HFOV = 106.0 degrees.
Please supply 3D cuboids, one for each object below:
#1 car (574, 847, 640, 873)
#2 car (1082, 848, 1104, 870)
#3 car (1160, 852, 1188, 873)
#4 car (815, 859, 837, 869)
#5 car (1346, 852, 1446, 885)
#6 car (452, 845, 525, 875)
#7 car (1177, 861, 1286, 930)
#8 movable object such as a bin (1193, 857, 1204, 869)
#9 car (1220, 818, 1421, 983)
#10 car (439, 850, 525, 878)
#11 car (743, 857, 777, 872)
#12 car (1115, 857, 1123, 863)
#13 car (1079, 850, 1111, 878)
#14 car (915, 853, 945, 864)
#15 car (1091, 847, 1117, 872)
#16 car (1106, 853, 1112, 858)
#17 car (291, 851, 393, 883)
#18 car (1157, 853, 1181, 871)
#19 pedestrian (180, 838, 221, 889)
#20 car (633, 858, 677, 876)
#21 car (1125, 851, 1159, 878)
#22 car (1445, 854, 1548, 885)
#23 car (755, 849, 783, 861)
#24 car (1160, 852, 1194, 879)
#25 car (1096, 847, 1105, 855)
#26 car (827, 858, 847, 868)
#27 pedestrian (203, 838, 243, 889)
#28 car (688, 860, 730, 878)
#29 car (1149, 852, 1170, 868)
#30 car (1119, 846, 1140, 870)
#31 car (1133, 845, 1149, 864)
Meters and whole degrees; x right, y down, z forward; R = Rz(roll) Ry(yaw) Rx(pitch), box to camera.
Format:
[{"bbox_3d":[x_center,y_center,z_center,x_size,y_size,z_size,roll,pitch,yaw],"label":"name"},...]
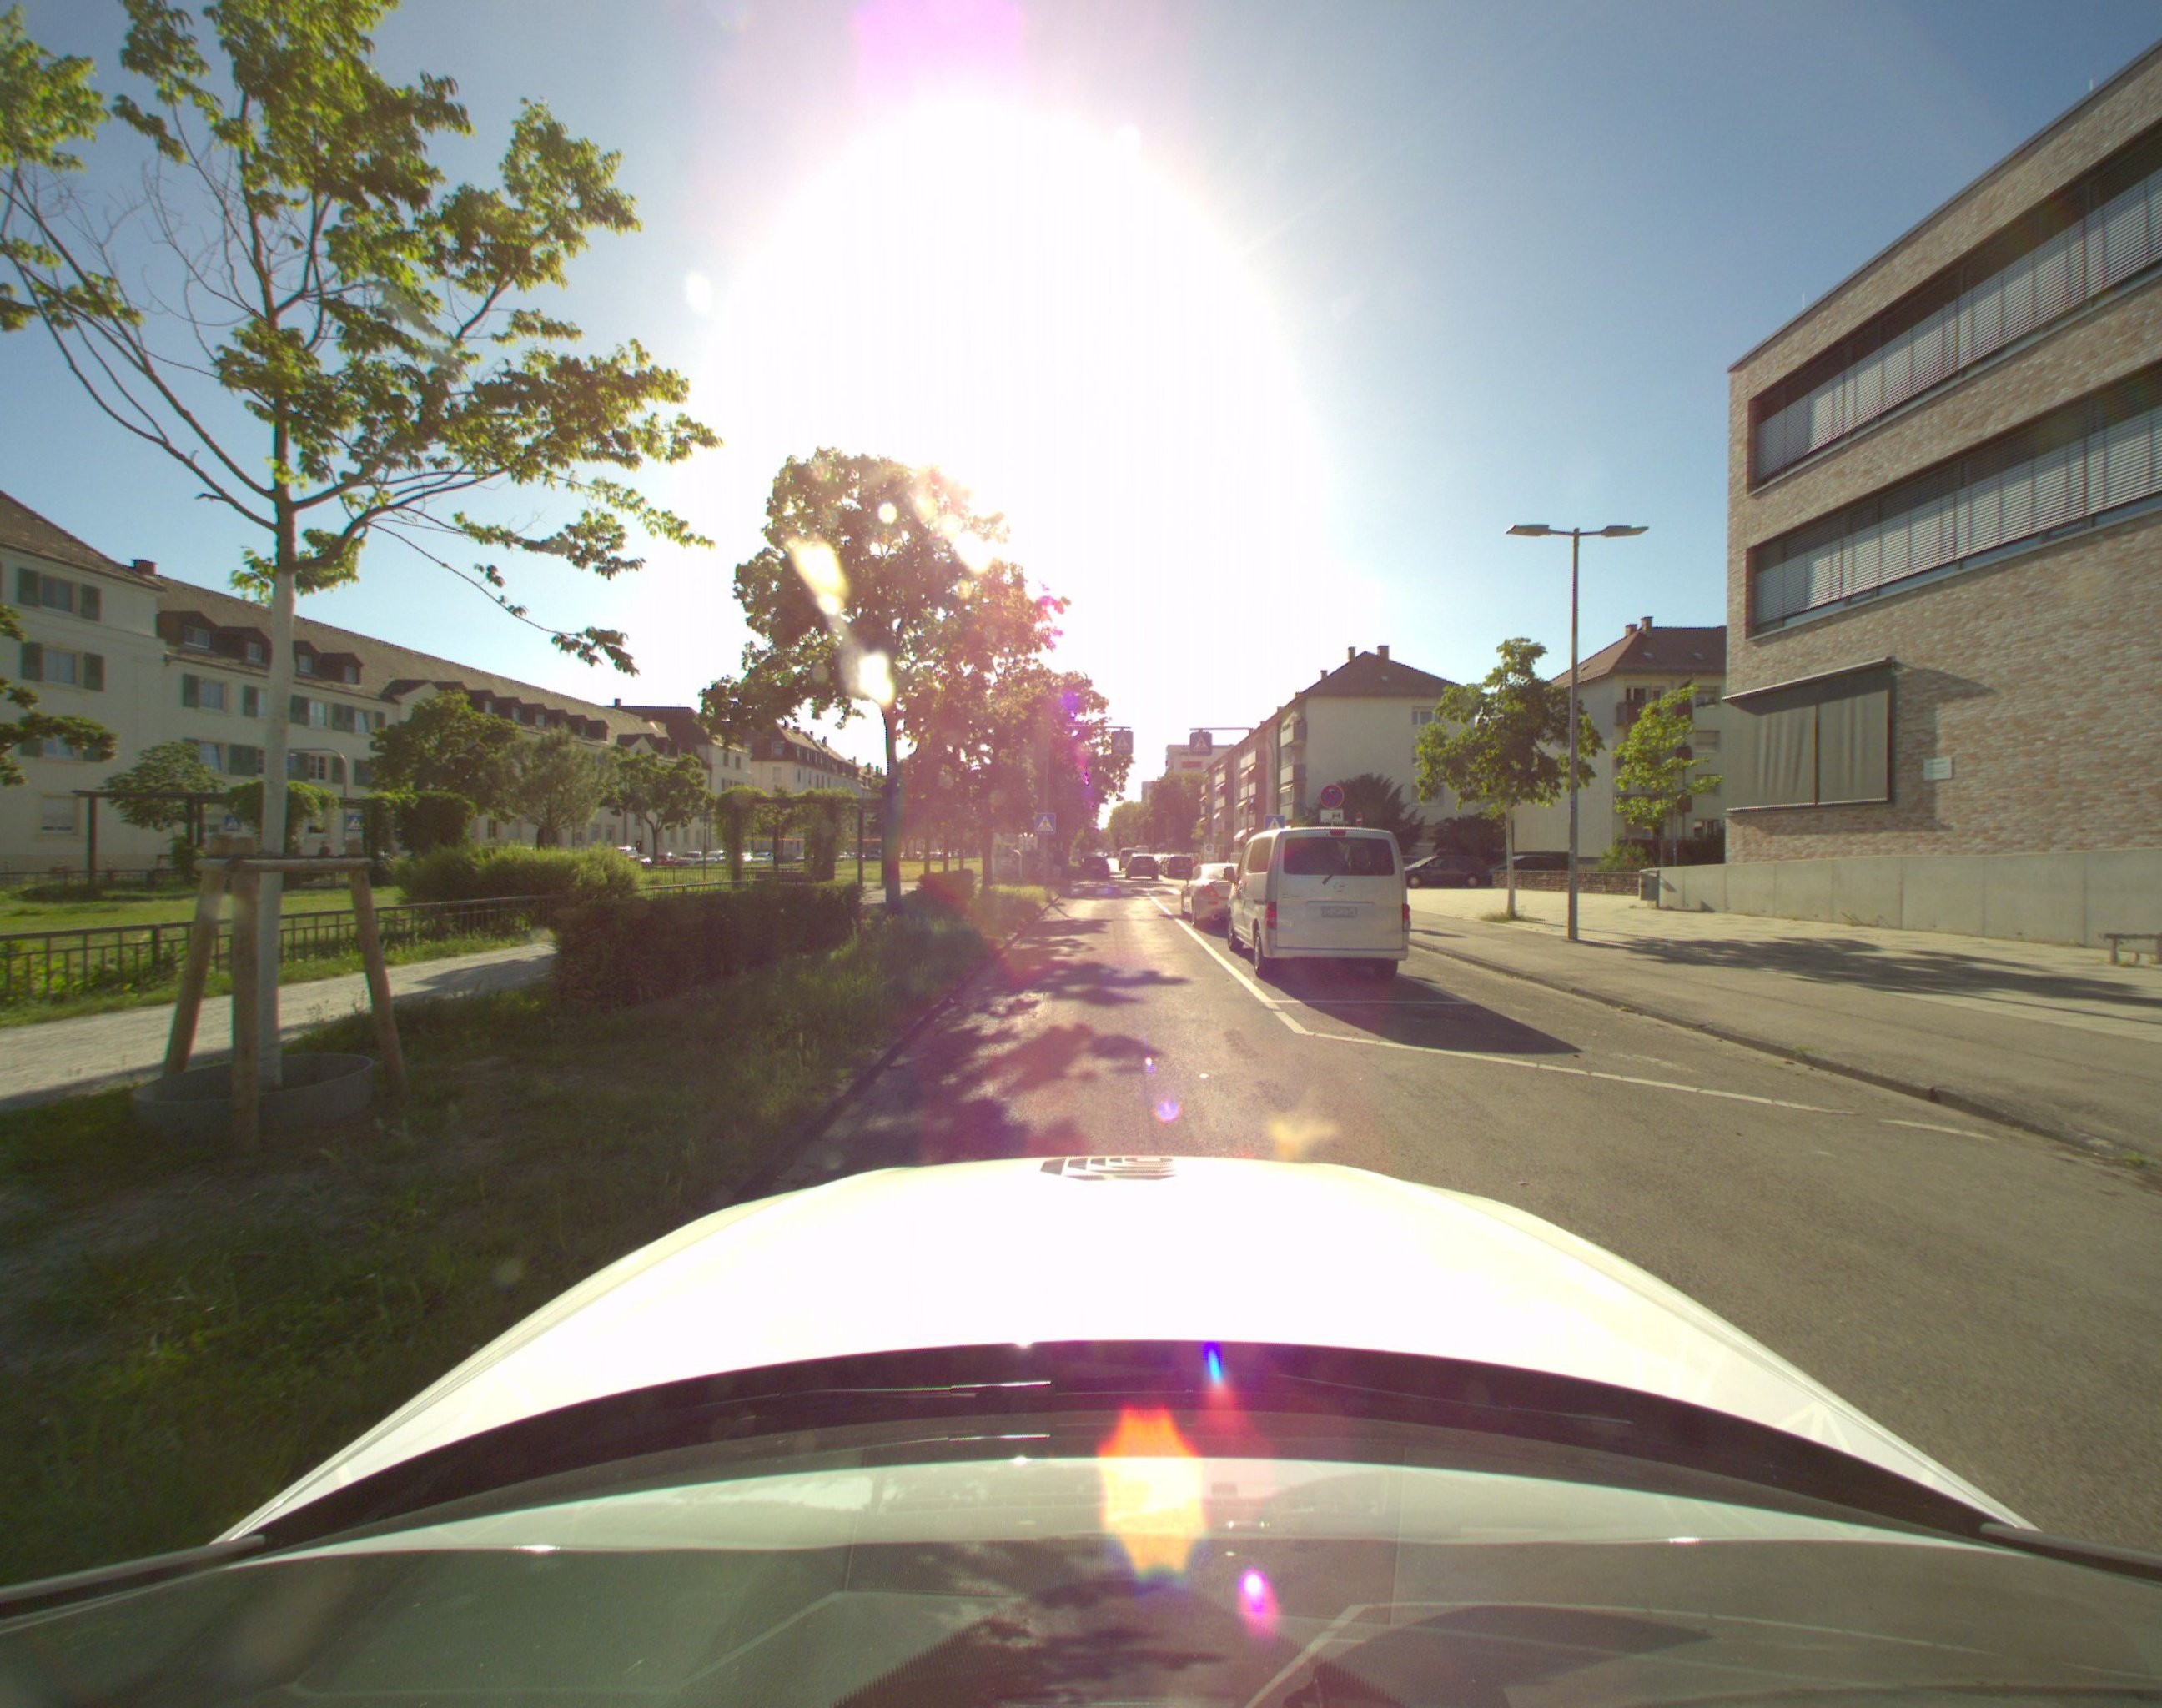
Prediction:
[{"bbox_3d":[-33.557,0.398,57.761,1.787,1.710,4.705,0,0,2],"label":"car"},{"bbox_3d":[1.177,0.498,78.212,1.986,2.013,4.002,-1,0,2],"label":"car"},{"bbox_3d":[7.130,0.631,62.717,1.787,1.510,4.002,0,0,2],"label":"car"},{"bbox_3d":[-38.056,1.460,121.683,1.787,1.510,4.146,0,0,2],"label":"car"},{"bbox_3d":[16.162,0.756,41.864,4.467,1.622,1.799,0,-2,-1],"label":"car"},{"bbox_3d":[-38.988,0.389,53.726,1.787,1.909,4.002,0,0,2],"label":"car"},{"bbox_3d":[3.176,0.829,17.931,1.758,1.319,4.170,1,-1,2],"label":"car"},{"bbox_3d":[14.390,1.080,99.566,1.087,1.510,2.003,0,0,2],"label":"movable object such as a bin"},{"bbox_3d":[3.109,0.532,11.511,1.786,1.855,4.417,1,0,4],"label":"car"},{"bbox_3d":[-33.732,0.553,46.014,1.787,1.510,4.002,0,0,2],"label":"car"},{"bbox_3d":[-32.980,1.066,83.697,1.787,1.510,4.002,0,0,2],"label":"car"},{"bbox_3d":[9.249,1.430,196.805,1.787,1.510,4.002,-1,0,2],"label":"car"},{"bbox_3d":[0.876,0.569,49.082,1.787,1.624,4.002,1,0,2],"label":"car"},{"bbox_3d":[-21.369,0.656,115.169,3.977,1.510,1.799,0,0,-2],"label":"car"},{"bbox_3d":[1.901,0.439,66.272,1.986,2.013,4.002,-1,0,2],"label":"car"},{"bbox_3d":[8.642,0.494,253.557,1.787,1.510,4.002,-1,0,2],"label":"car"},{"bbox_3d":[-39.309,0.664,43.477,1.788,1.611,3.999,0,0,0],"label":"car"},{"bbox_3d":[7.589,0.695,70.695,1.787,1.510,4.002,0,0,2],"label":"car"},{"bbox_3d":[-29.774,0.321,27.544,0.645,1.698,0.650,-1,0,2],"label":"pedestrian"},{"bbox_3d":[-38.574,1.157,73.794,1.787,1.510,4.002,0,0,2],"label":"car"},{"bbox_3d":[3.475,0.584,46.902,1.787,1.510,4.002,0,0,2],"label":"car"},{"bbox_3d":[21.372,0.819,42.000,4.467,1.540,1.799,0,-2,-1],"label":"car"},{"bbox_3d":[-38.759,0.150,101.123,1.787,1.510,4.002,0,0,2],"label":"car"},{"bbox_3d":[5.988,0.667,51.105,1.787,1.601,4.002,1,0,2],"label":"car"},{"bbox_3d":[4.205,-0.615,173.977,1.787,1.510,4.002,-1,0,2],"label":"car"},{"bbox_3d":[-37.990,1.430,126.854,1.788,1.510,4.001,0,0,1],"label":"car"},{"bbox_3d":[-28.947,0.330,27.497,0.645,1.698,0.650,-1,0,2],"label":"pedestrian"},{"bbox_3d":[-33.152,1.354,72.624,1.787,1.510,4.002,0,0,2],"label":"car"},{"bbox_3d":[7.619,0.581,79.321,1.787,1.510,4.002,0,0,2],"label":"car"},{"bbox_3d":[4.332,0.314,73.550,1.787,2.122,4.002,0,0,2],"label":"car"},{"bbox_3d":[8.066,0.114,109.677,1.986,2.430,4.502,2,0,2],"label":"car"}]
